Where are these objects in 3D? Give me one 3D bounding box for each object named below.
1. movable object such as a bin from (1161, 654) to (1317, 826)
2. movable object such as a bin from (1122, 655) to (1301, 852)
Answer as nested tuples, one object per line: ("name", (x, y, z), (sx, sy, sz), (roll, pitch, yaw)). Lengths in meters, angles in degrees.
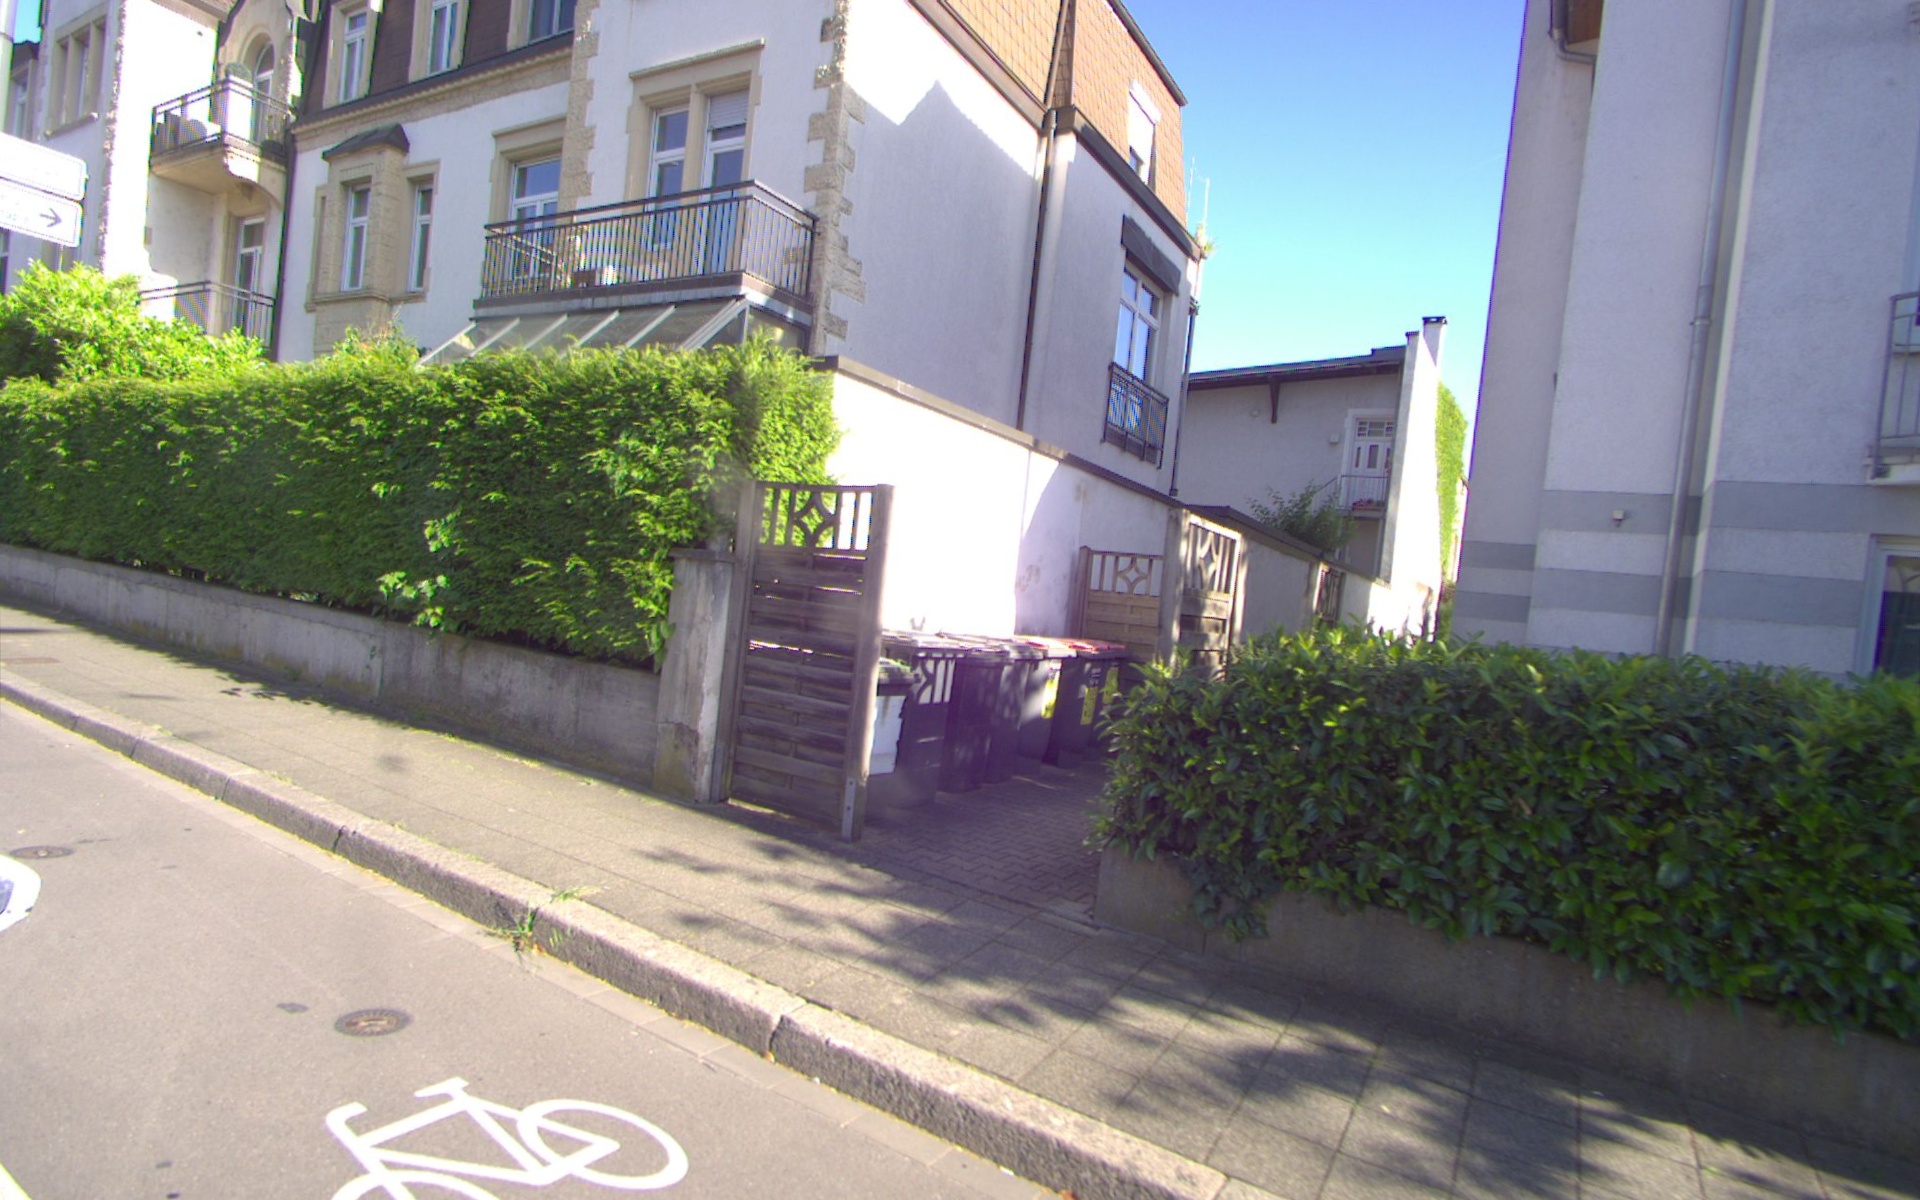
("movable object such as a bin", (2.116, 1.014, 7.575), (0.800, 1.097, 0.972), (6, 0, 32))
("movable object such as a bin", (1.685, 0.965, 6.674), (0.800, 1.097, 0.972), (6, 0, 32))
